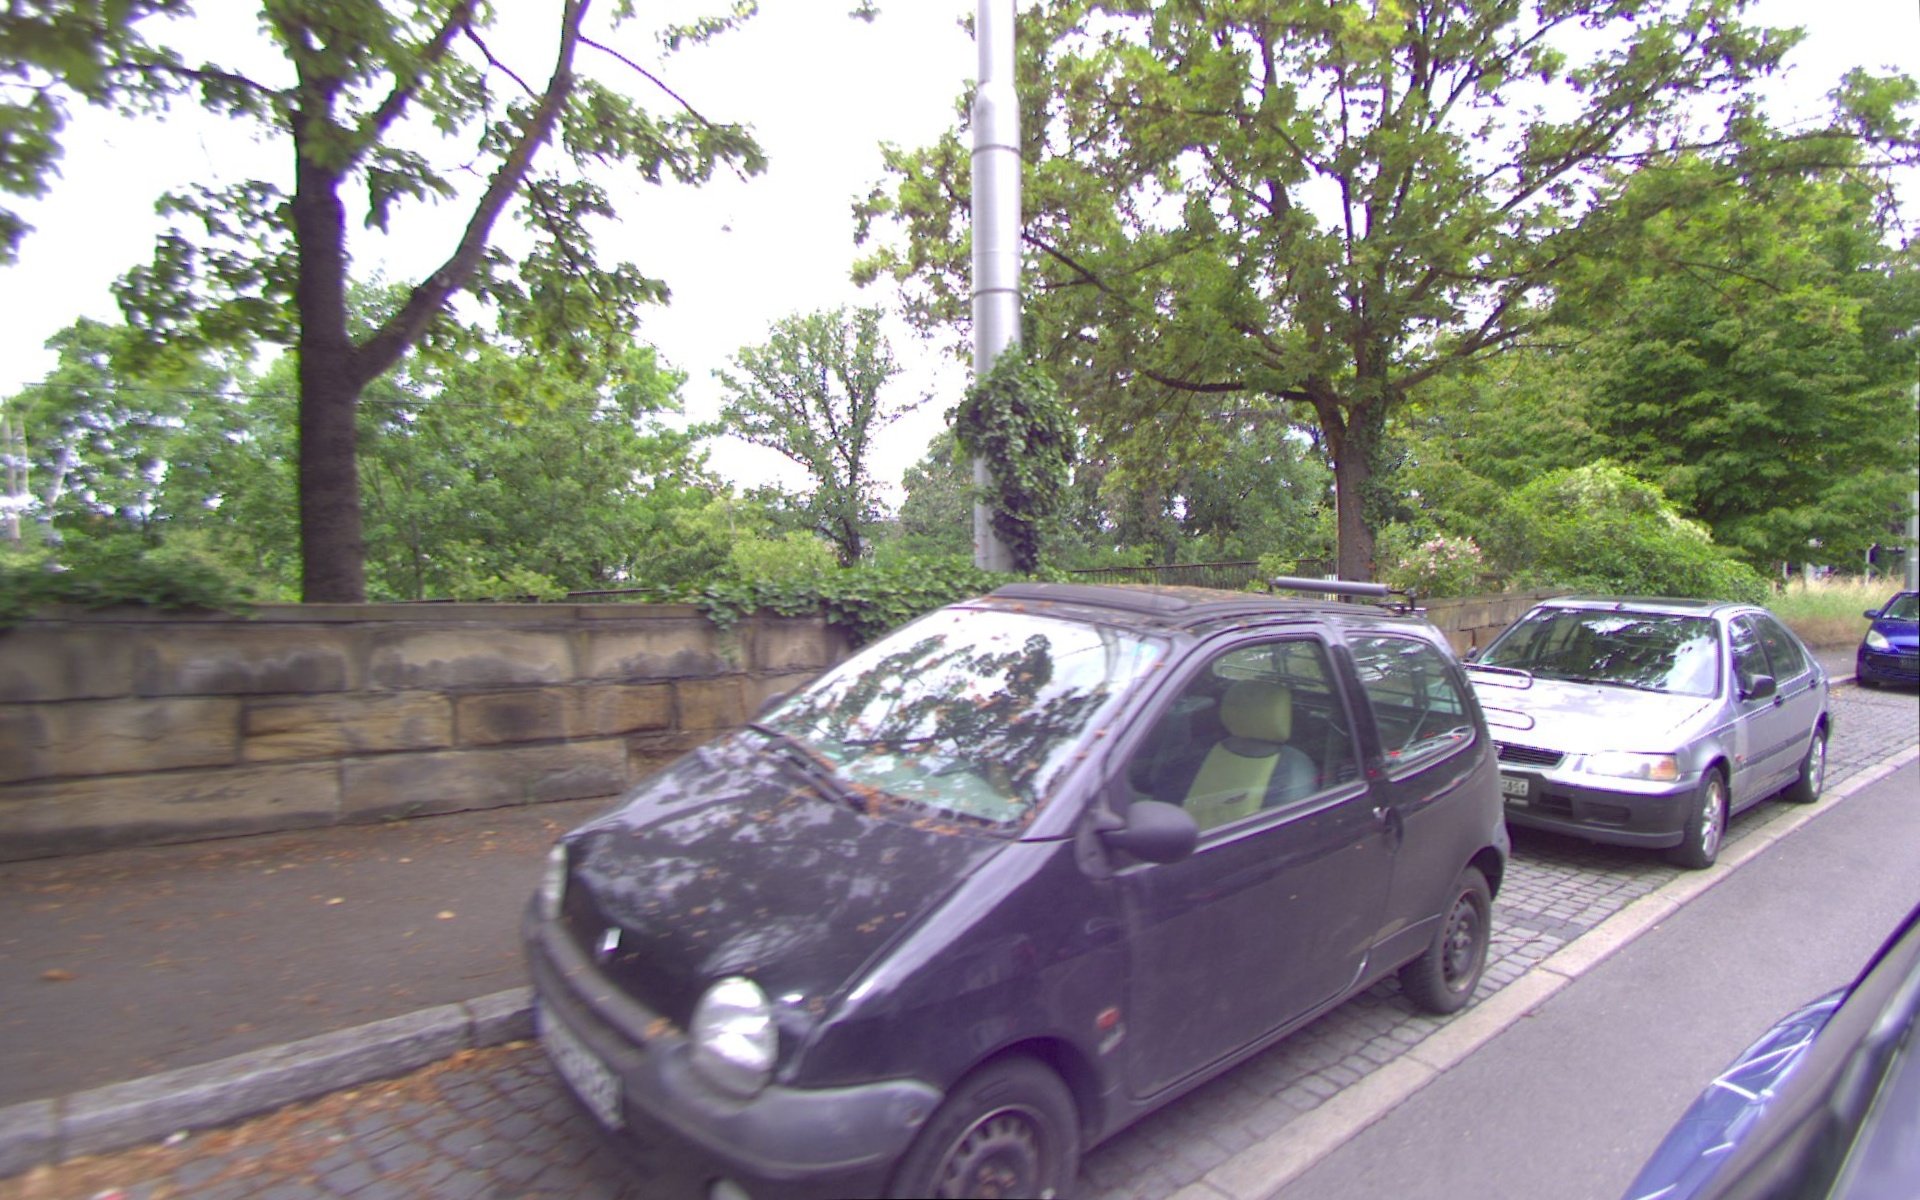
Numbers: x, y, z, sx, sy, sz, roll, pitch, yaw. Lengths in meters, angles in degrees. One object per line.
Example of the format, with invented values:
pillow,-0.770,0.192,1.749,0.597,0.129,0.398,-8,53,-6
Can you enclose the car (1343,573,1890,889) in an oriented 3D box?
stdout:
car,4.612,0.557,6.817,4.470,1.415,1.775,-1,4,-39

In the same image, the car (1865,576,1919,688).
car,14.630,0.428,14.606,3.869,1.477,1.602,-1,4,-38

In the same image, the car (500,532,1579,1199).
car,0.515,0.572,3.300,3.365,1.439,1.565,-1,5,-41

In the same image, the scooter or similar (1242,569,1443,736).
scooter or similar,3.320,0.389,8.701,1.963,1.258,0.563,-1,7,-38
